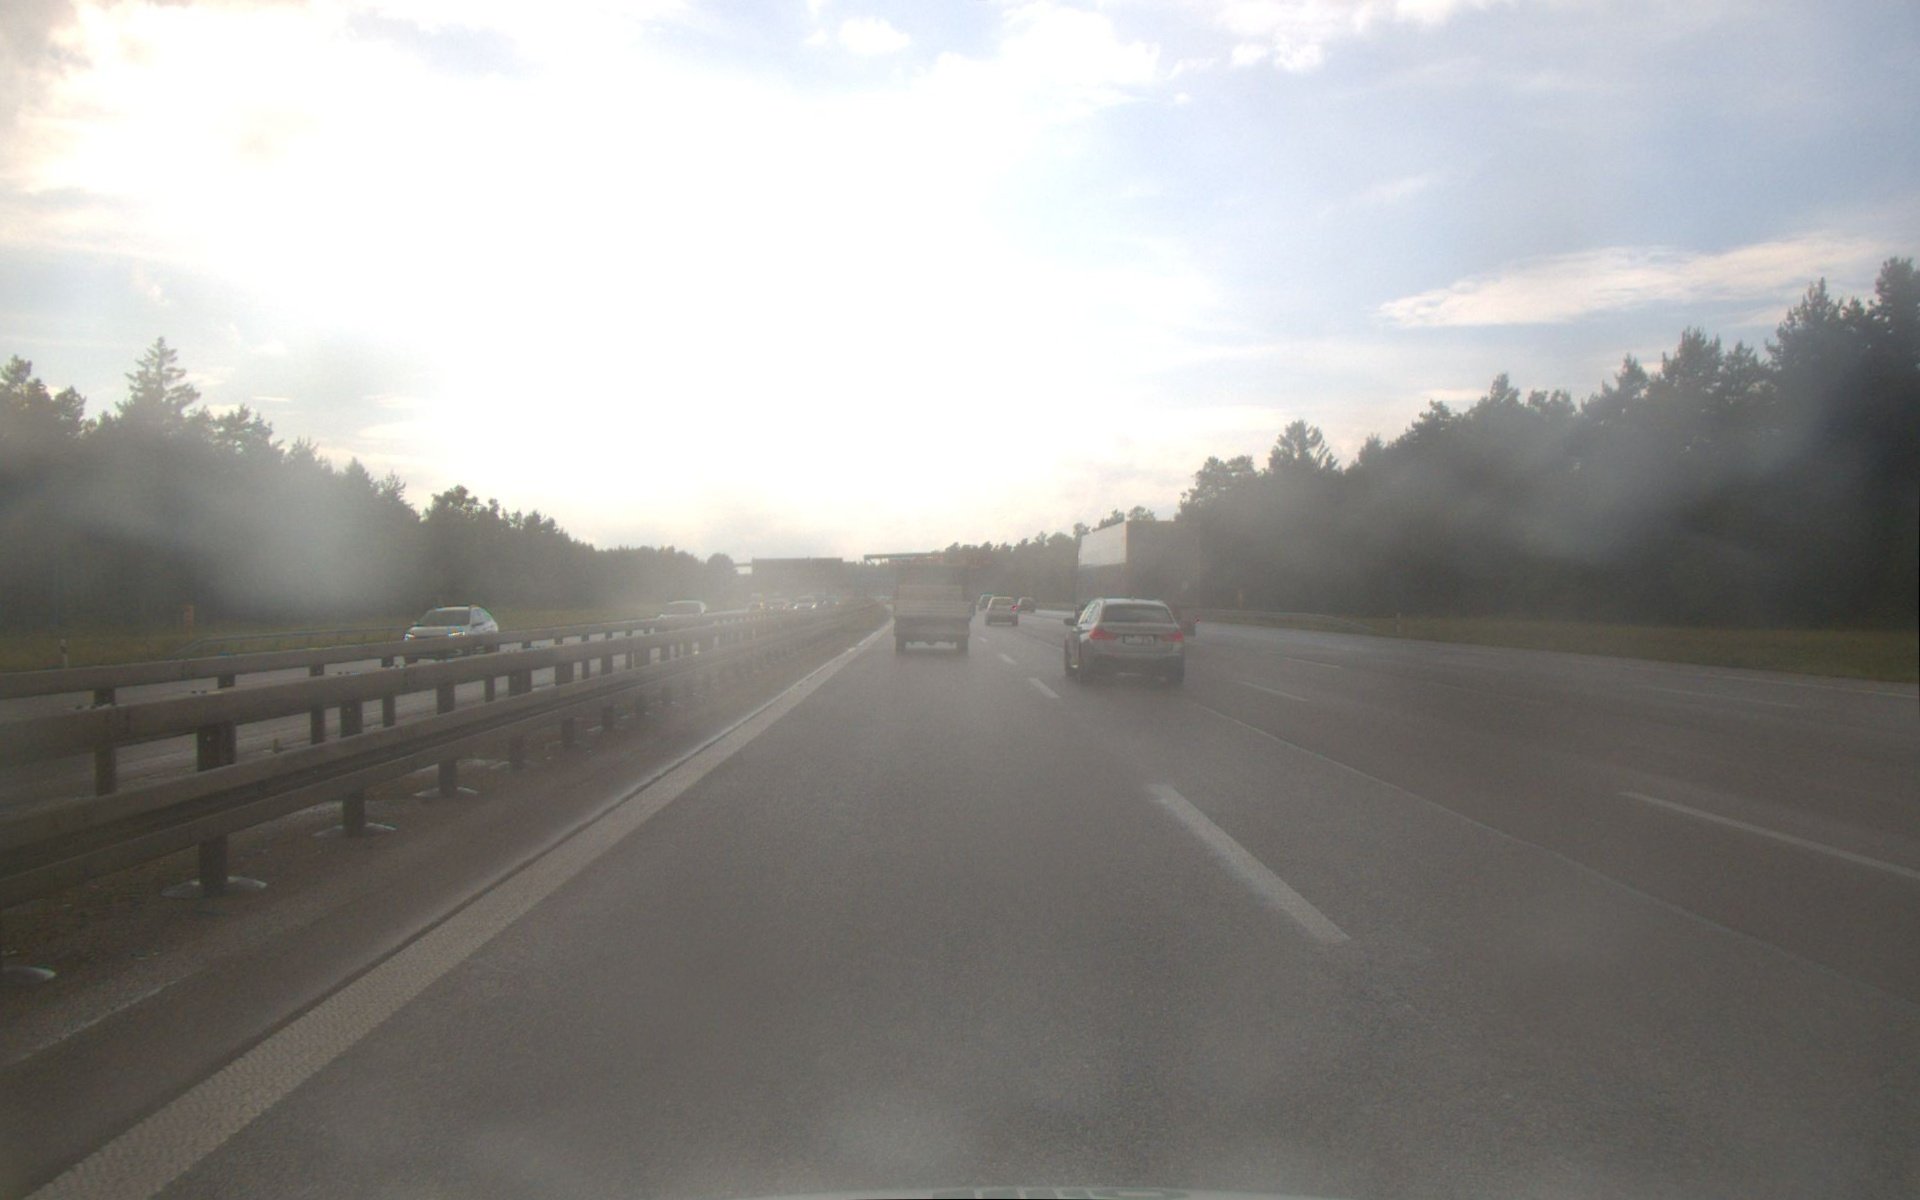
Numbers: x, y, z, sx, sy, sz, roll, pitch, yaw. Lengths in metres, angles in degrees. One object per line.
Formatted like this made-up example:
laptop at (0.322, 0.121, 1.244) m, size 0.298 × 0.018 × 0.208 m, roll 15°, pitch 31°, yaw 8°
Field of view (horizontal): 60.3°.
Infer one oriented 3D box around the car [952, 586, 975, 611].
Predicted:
car at (0.281, -0.174, 139.009) m, size 1.869 × 2.049 × 4.000 m, roll 1°, pitch 0°, yaw 0°

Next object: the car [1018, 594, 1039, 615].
car at (6.813, 0.455, 164.799) m, size 1.953 × 2.049 × 4.000 m, roll 1°, pitch 0°, yaw 0°

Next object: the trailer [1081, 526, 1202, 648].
trailer at (6.559, -0.436, 61.902) m, size 2.277 × 4.071 × 13.402 m, roll 0°, pitch 0°, yaw -3°

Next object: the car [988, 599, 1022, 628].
car at (2.446, 0.720, 90.493) m, size 1.793 × 1.492 × 4.000 m, roll 1°, pitch 0°, yaw 1°

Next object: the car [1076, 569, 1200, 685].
car at (3.171, 0.455, 30.311) m, size 2.034 × 1.918 × 5.013 m, roll 1°, pitch 0°, yaw 4°

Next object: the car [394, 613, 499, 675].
car at (-13.745, 1.149, 44.472) m, size 1.693 × 1.507 × 3.998 m, roll -1°, pitch 0°, yaw -2°

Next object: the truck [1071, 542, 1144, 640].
truck at (6.114, -0.378, 69.219) m, size 2.248 × 3.935 × 5.388 m, roll 0°, pitch 0°, yaw -3°

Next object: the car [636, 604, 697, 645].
car at (-10.940, 0.881, 61.887) m, size 1.693 × 1.413 × 4.090 m, roll -2°, pitch 0°, yaw -2°

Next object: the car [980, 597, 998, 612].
car at (3.250, 0.500, 186.592) m, size 1.706 × 1.718 × 3.997 m, roll 0°, pitch 0°, yaw -3°

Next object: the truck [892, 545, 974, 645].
truck at (-0.731, -0.142, 45.067) m, size 2.094 × 2.532 × 5.312 m, roll 0°, pitch 0°, yaw -1°
